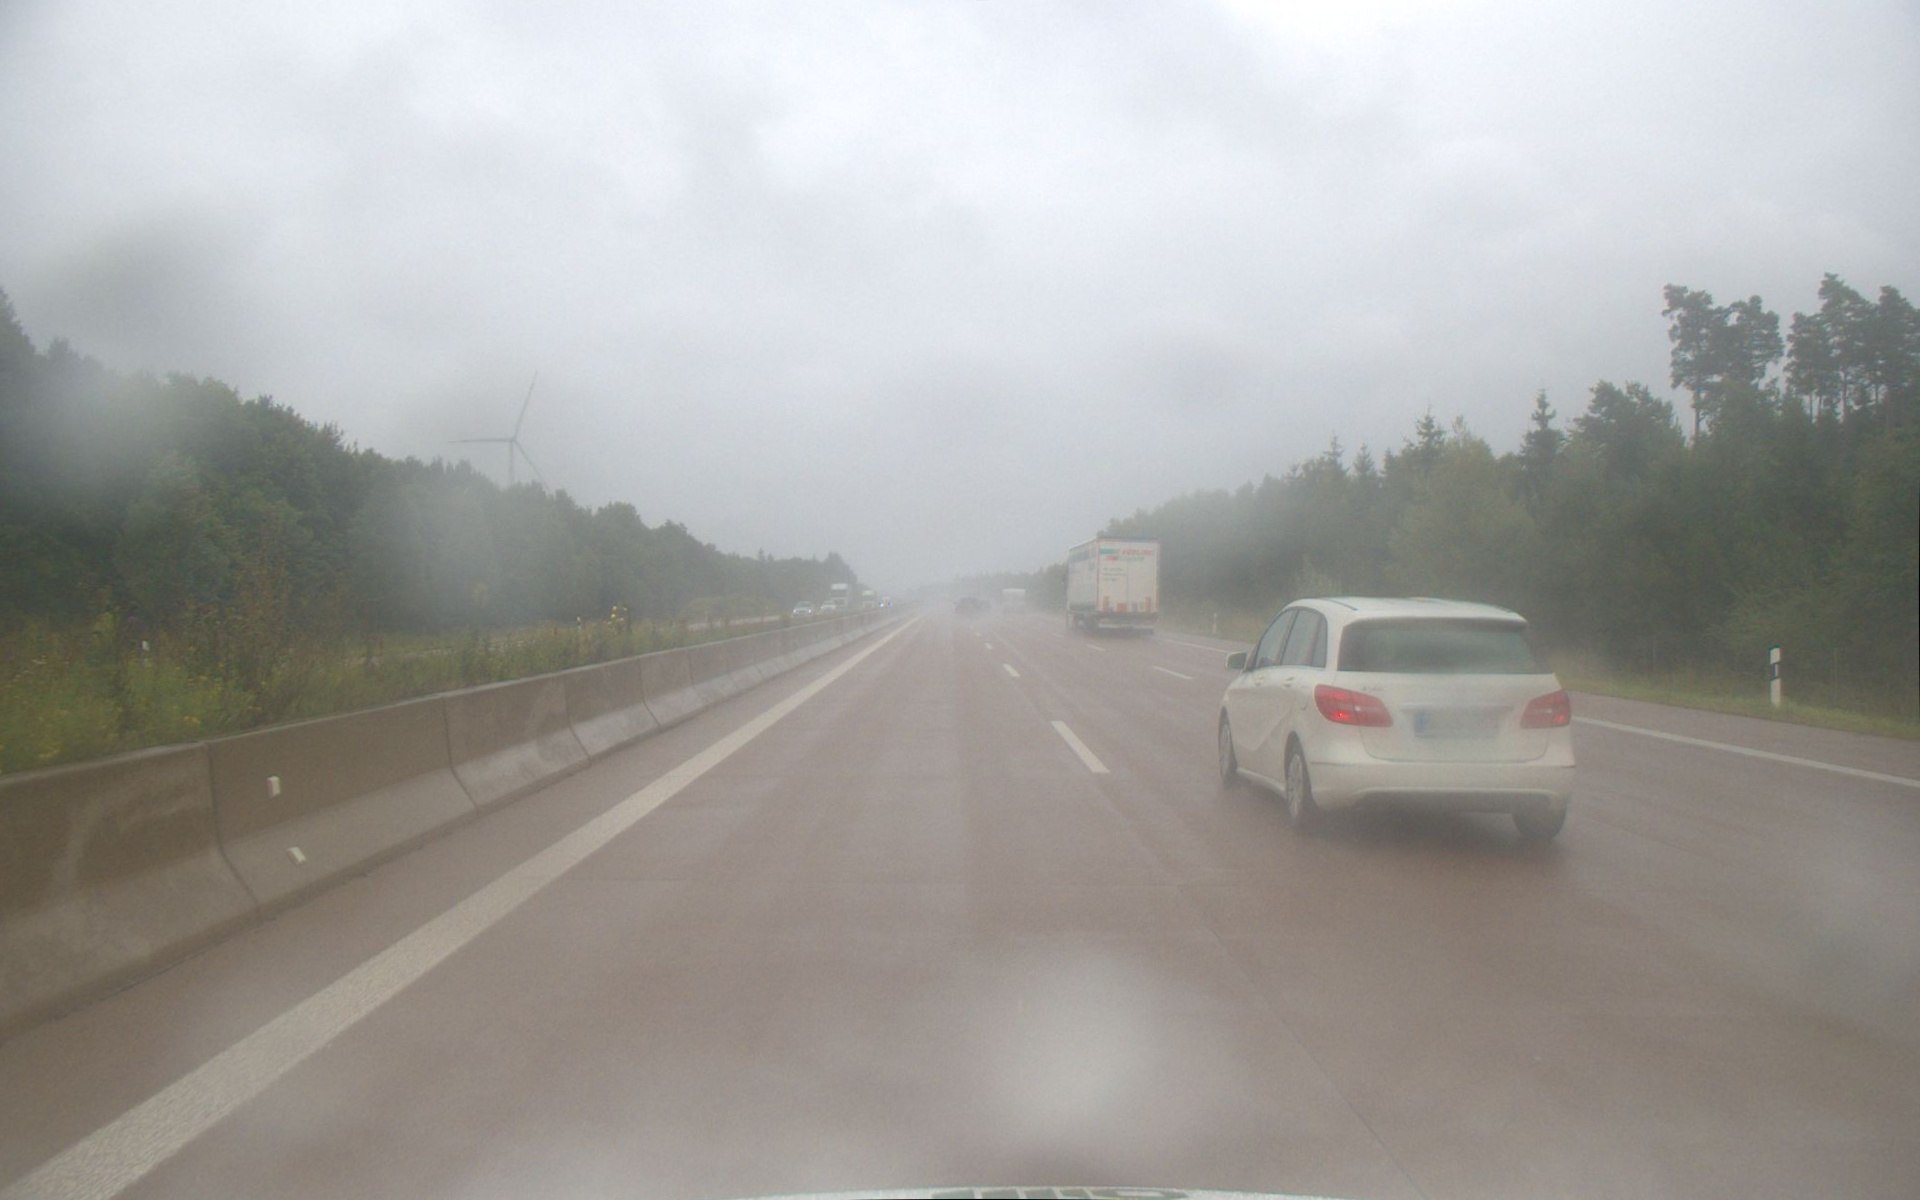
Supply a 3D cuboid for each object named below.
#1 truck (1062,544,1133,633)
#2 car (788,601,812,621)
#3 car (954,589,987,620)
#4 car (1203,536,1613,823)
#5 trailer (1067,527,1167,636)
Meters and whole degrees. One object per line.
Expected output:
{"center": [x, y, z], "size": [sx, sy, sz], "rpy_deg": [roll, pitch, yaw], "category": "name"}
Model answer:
{"center": [6.619, -0.569, 80.304], "size": [2.822, 4.178, 6.348], "rpy_deg": [0, 0, -1], "category": "truck"}
{"center": [-14.154, 0.952, 146.240], "size": [1.772, 1.660, 4.503], "rpy_deg": [3, 0, -3], "category": "car"}
{"center": [0.729, 0.314, 113.170], "size": [2.129, 2.016, 4.130], "rpy_deg": [3, 0, 0], "category": "car"}
{"center": [3.157, 0.501, 12.729], "size": [1.771, 1.758, 4.742], "rpy_deg": [1, 0, -1], "category": "car"}
{"center": [6.735, -0.814, 73.020], "size": [2.795, 4.305, 13.129], "rpy_deg": [-1, 1, -1], "category": "trailer"}
